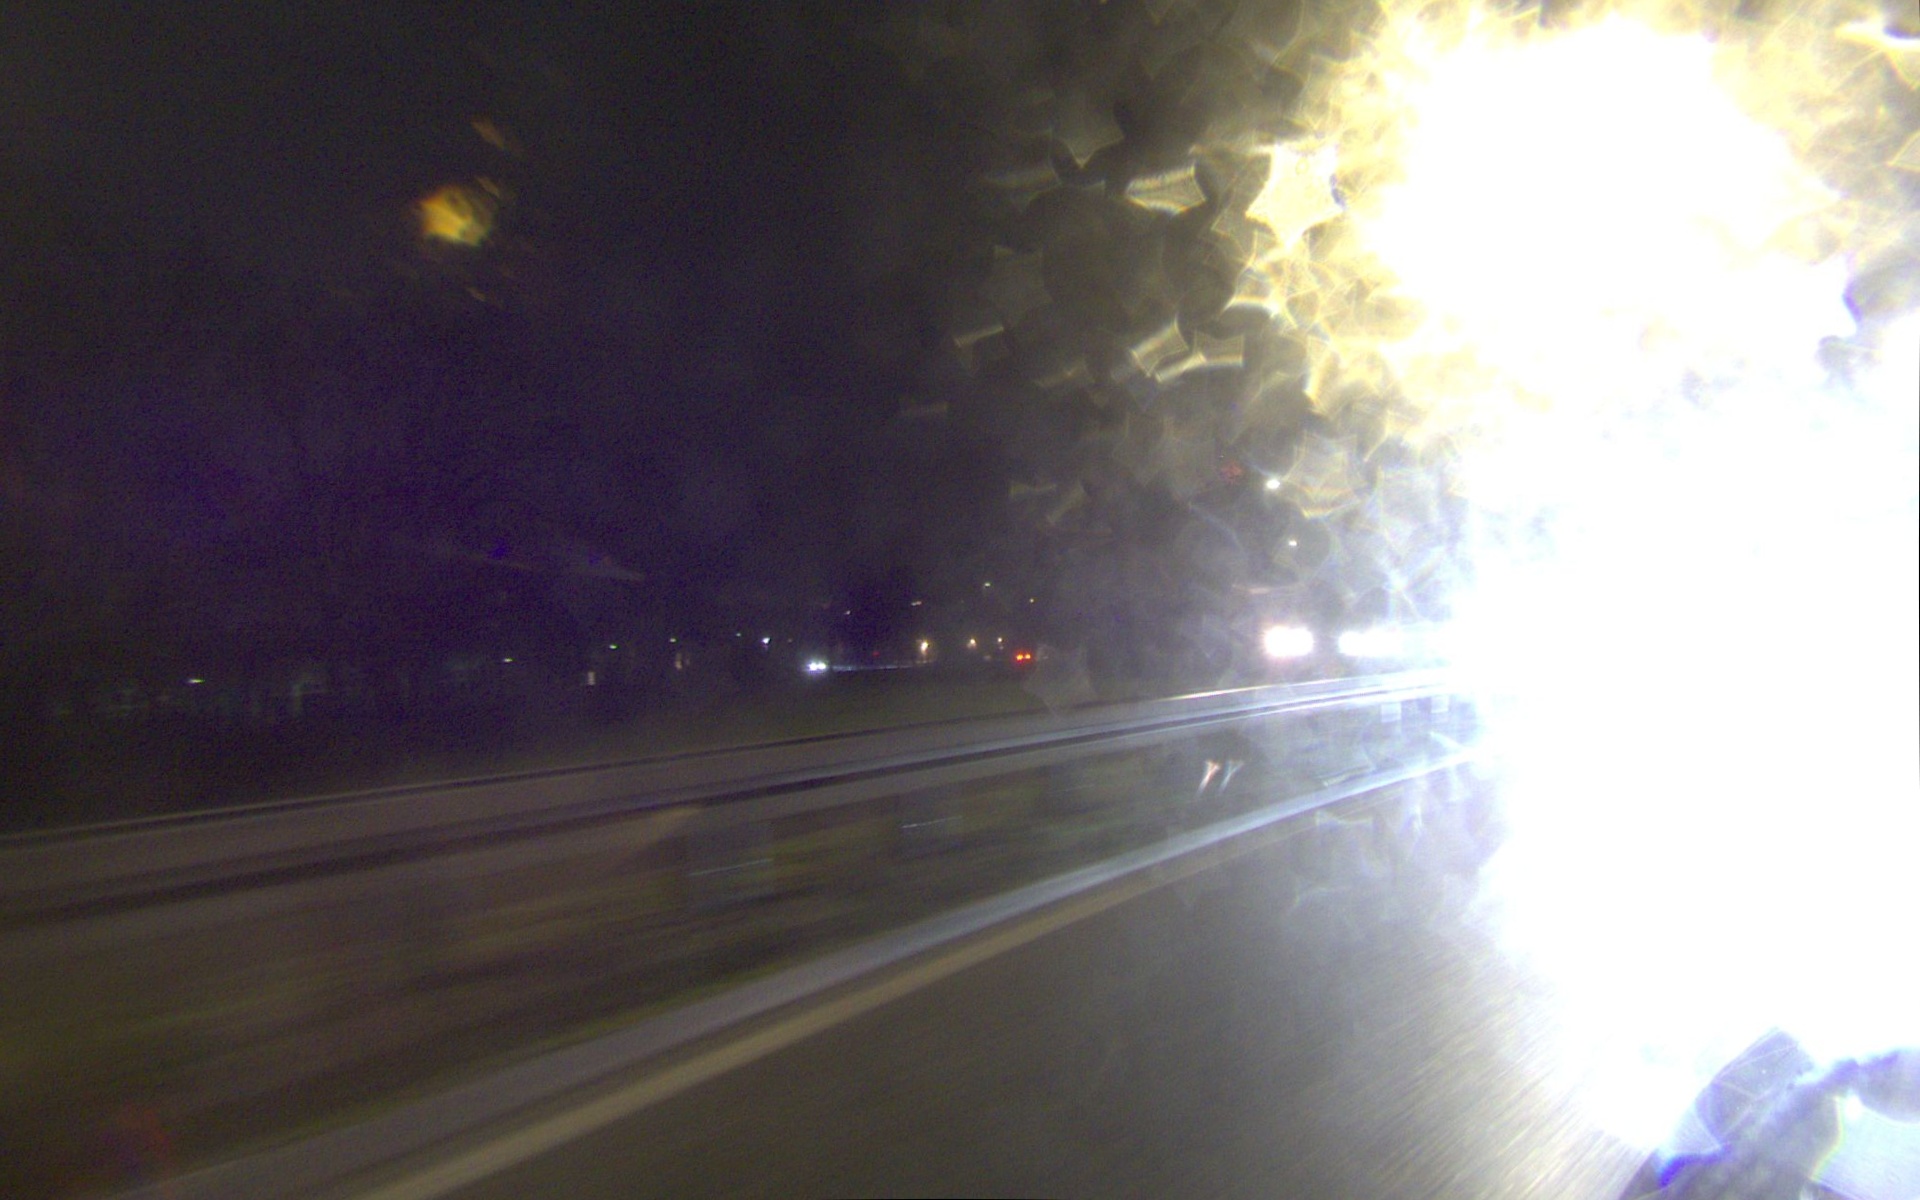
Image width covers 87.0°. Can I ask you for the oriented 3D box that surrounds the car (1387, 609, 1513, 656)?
[{"bbox_3d":[19.247,1.226,40.024,1.958,1.661,4.791,0,0,-12],"label":"car"}]

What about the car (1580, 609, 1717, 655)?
[{"bbox_3d":[26.824,1.210,39.611,1.958,1.661,4.126,0,0,-15],"label":"car"}]

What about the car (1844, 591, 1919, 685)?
[{"bbox_3d":[18.617,0.683,18.927,4.203,1.641,2.048,1,-1,-33],"label":"car"}]

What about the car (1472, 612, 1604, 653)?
[{"bbox_3d":[22.544,1.230,39.698,1.958,1.426,4.554,0,0,-12],"label":"car"}]

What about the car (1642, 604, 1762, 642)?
[{"bbox_3d":[35.599,1.080,48.661,1.963,1.720,4.259,1,-1,-37],"label":"car"}]

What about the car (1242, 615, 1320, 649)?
[{"bbox_3d":[16.744,1.661,53.029,1.958,1.661,4.353,-1,-1,-12],"label":"car"}]

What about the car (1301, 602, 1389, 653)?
[{"bbox_3d":[17.635,1.322,46.552,1.728,2.039,4.004,-5,-3,-12],"label":"car"}]

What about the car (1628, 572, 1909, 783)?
[{"bbox_3d":[8.513,0.616,10.507,1.923,1.736,4.172,1,1,44],"label":"car"}]
